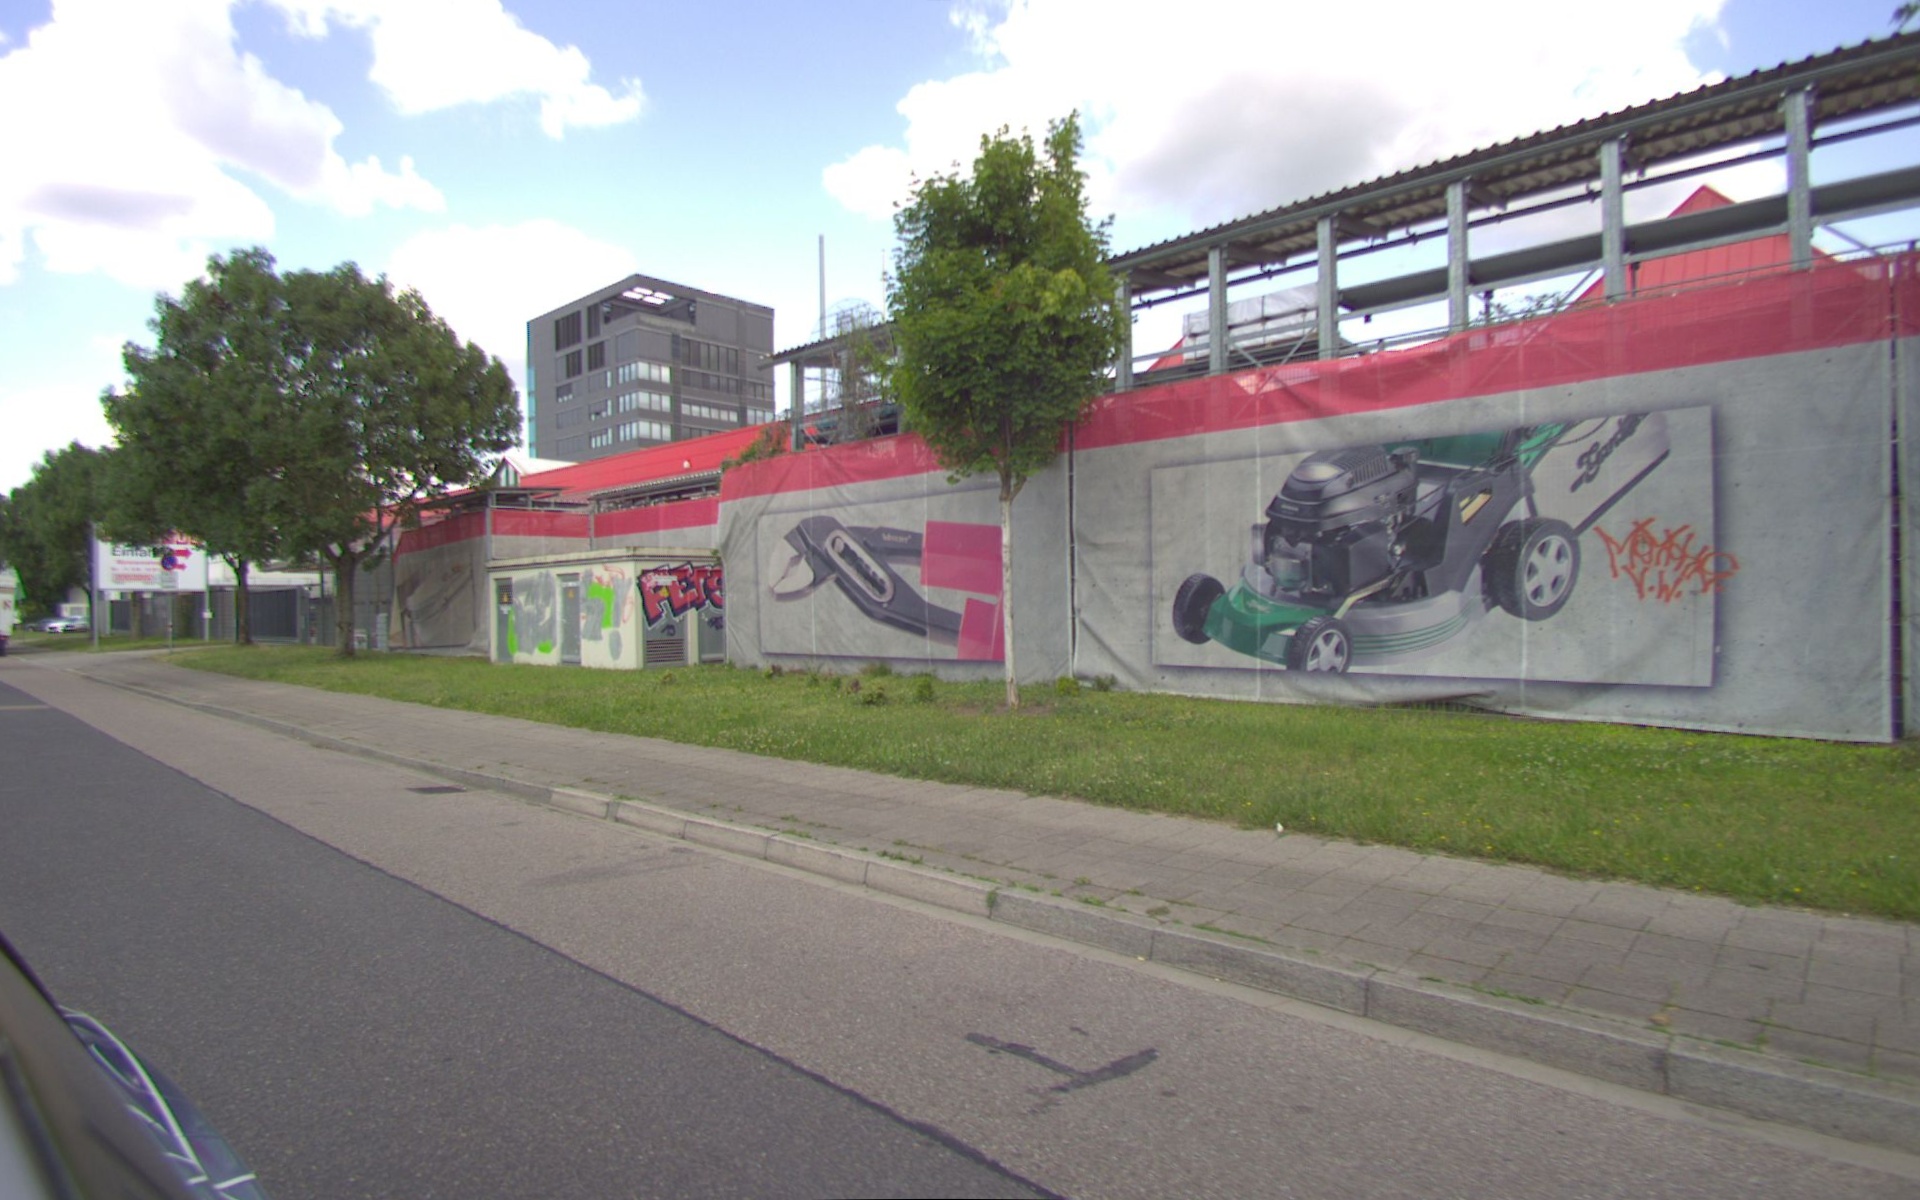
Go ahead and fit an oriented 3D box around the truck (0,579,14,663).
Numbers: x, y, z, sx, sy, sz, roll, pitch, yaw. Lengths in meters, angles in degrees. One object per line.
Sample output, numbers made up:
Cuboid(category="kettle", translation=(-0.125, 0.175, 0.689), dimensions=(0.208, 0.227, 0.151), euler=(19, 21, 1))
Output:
Cuboid(category="truck", translation=(-46.385, 0.971, 47.220), dimensions=(7.171, 3.751, 2.718), euler=(-1, -1, 43))
